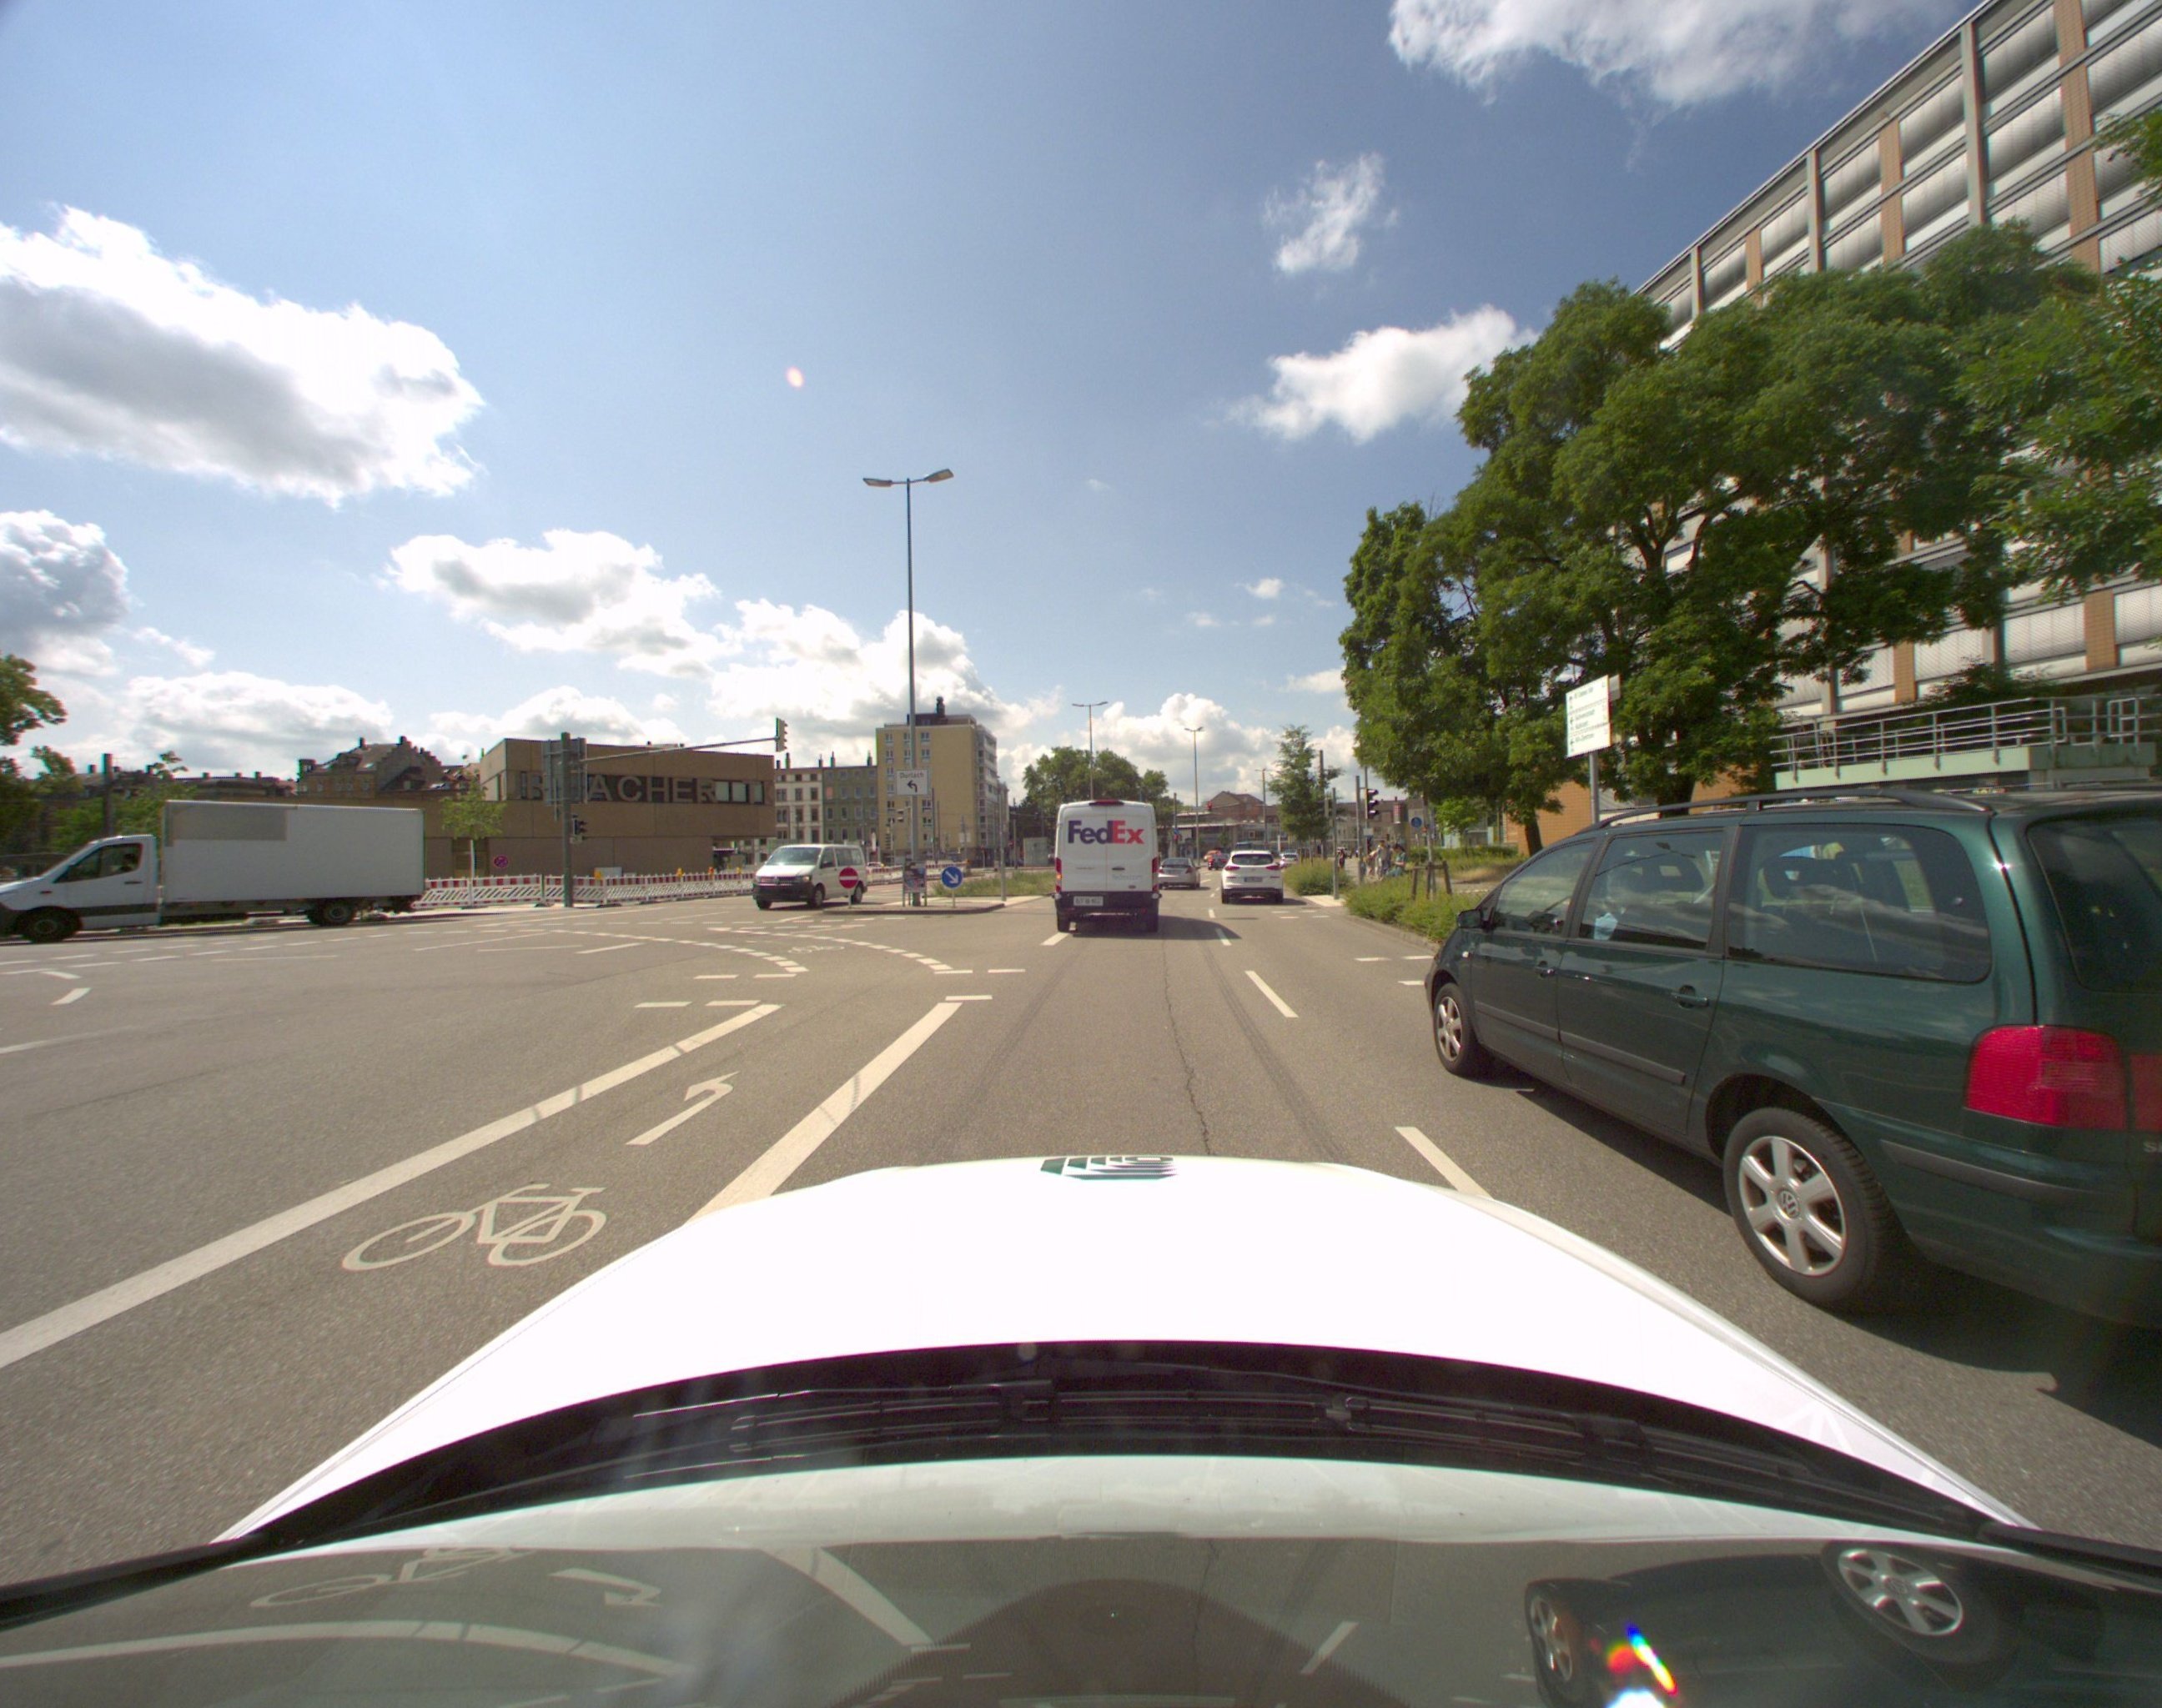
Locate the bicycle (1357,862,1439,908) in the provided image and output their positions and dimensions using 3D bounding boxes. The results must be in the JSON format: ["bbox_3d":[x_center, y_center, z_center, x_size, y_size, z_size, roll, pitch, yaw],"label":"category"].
[{"bbox_3d":[8.117,0.789,20.878,1.803,1.050,0.592,-4,-2,1],"label":"bicycle"}]

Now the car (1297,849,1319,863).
[{"bbox_3d":[28.378,0.183,101.846,1.864,1.641,3.980,-2,0,26],"label":"car"}]

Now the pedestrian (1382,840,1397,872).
[{"bbox_3d":[17.879,0.131,47.255,0.750,1.821,0.677,-1,-1,16],"label":"pedestrian"}]

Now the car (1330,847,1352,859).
[{"bbox_3d":[37.766,-0.216,118.151,1.863,1.641,3.982,-2,0,35],"label":"car"}]

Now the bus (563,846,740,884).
[{"bbox_3d":[-34.115,0.862,65.403,12.335,2.859,2.563,0,-1,-43],"label":"bus"}]

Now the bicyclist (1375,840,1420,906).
[{"bbox_3d":[8.115,0.488,20.886,0.824,1.601,0.580,-4,-2,2],"label":"bicyclist"}]

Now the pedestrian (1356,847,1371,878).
[{"bbox_3d":[15.172,0.449,43.708,0.645,1.626,0.778,-4,-2,18],"label":"pedestrian"}]

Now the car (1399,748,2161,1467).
[{"bbox_3d":[3.308,0.612,4.165,1.787,1.723,4.450,0,0,2],"label":"car"}]

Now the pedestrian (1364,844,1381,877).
[{"bbox_3d":[14.316,0.324,39.977,0.585,1.626,0.728,0,-1,3],"label":"pedestrian"}]

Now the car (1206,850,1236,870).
[{"bbox_3d":[12.395,0.525,71.964,1.913,1.641,4.814,-2,0,18],"label":"car"}]

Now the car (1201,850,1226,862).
[{"bbox_3d":[21.568,0.284,132.405,1.701,1.800,4.770,-3,-1,39],"label":"car"}]

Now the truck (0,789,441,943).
[{"bbox_3d":[-20.104,0.279,19.396,1.974,3.068,7.375,-1,-1,40],"label":"truck"}]

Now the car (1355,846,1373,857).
[{"bbox_3d":[43.771,-0.426,126.064,1.863,1.641,3.982,-2,0,30],"label":"car"}]

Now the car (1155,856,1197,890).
[{"bbox_3d":[4.352,0.829,36.806,1.731,1.392,4.189,-2,0,8],"label":"car"}]

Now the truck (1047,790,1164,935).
[{"bbox_3d":[0.571,0.176,17.973,2.128,2.640,5.920,-1,0,2],"label":"truck"}]

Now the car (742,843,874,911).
[{"bbox_3d":[-8.446,0.643,25.752,1.870,1.894,4.881,-2,0,9],"label":"car"}]

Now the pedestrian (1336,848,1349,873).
[{"bbox_3d":[16.624,0.420,51.763,0.750,1.590,0.765,-1,-1,18],"label":"pedestrian"}]

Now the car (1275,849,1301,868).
[{"bbox_3d":[18.971,0.371,74.475,1.865,1.641,3.976,-2,0,19],"label":"car"}]

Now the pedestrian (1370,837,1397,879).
[{"bbox_3d":[13.722,0.183,36.937,0.754,1.821,0.779,-5,-1,-3],"label":"pedestrian"}]

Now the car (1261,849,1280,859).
[{"bbox_3d":[30.437,-0.004,130.848,1.637,1.469,4.180,-2,0,34],"label":"car"}]

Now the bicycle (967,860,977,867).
[{"bbox_3d":[-17.409,1.533,129.936,0.514,1.147,2.108,1,-1,-44],"label":"bicycle"}]

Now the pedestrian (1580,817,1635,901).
[{"bbox_3d":[11.789,0.108,18.249,0.747,1.802,0.610,-3,0,1],"label":"pedestrian"}]

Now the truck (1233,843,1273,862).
[{"bbox_3d":[28.138,-0.242,132.873,2.857,2.852,8.849,-2,0,38],"label":"truck"}]

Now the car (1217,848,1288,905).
[{"bbox_3d":[5.442,0.647,26.273,1.871,1.641,4.241,-2,0,7],"label":"car"}]

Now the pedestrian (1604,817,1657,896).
[{"bbox_3d":[12.622,0.061,18.724,0.747,1.752,0.610,-3,0,1],"label":"pedestrian"}]
